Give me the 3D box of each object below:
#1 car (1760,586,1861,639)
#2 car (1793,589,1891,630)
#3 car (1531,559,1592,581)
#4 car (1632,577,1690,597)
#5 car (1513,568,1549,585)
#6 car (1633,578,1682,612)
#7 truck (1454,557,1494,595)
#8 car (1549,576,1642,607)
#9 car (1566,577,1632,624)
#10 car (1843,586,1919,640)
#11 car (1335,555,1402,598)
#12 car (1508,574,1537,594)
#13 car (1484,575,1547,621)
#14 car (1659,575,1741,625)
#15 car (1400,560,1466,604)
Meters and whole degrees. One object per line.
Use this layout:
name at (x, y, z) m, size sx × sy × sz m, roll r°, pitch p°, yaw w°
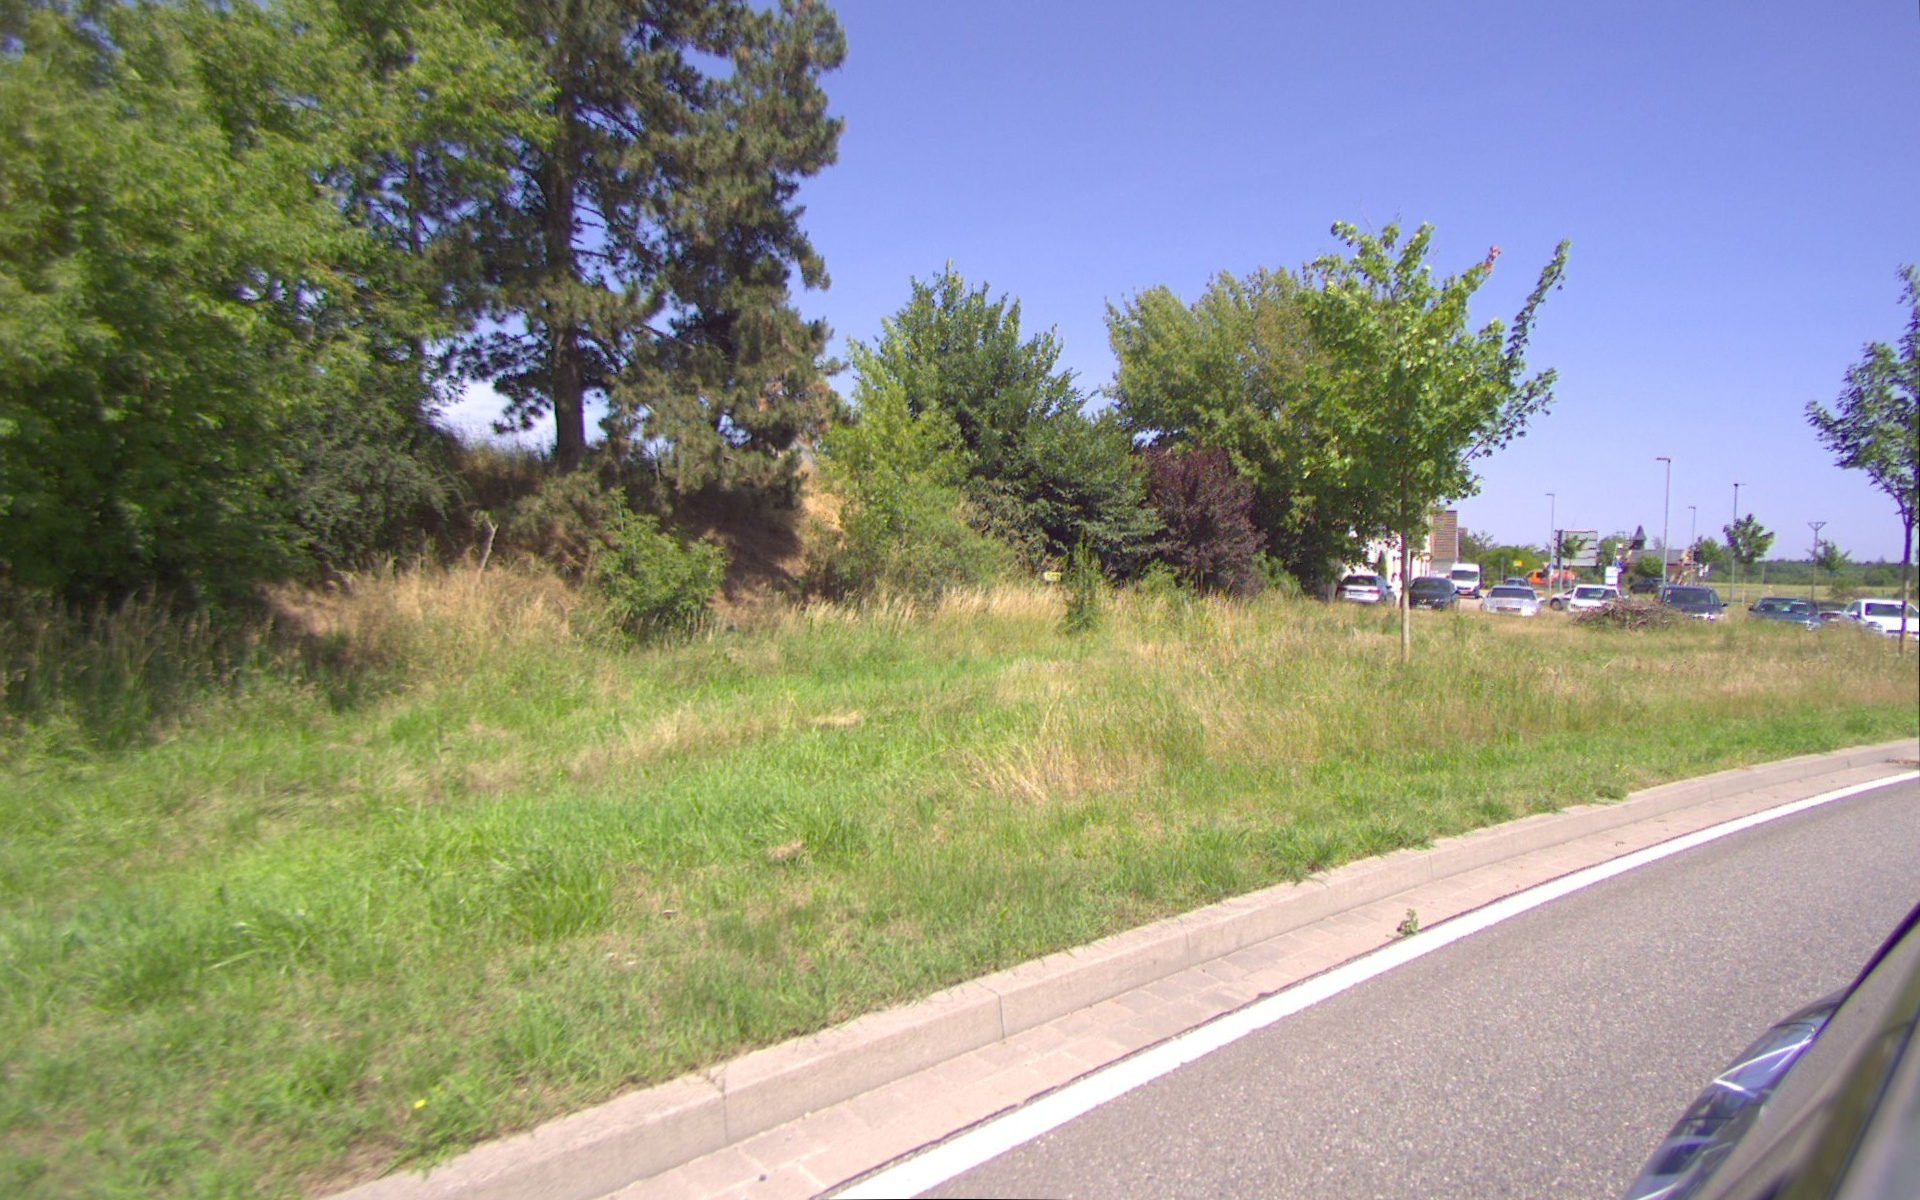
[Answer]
car at (26.203, 0.363, 31.307) m, size 1.761 × 1.460 × 3.921 m, roll 3°, pitch 1°, yaw 32°
car at (33.545, 0.303, 38.616) m, size 1.729 × 1.327 × 3.967 m, roll 3°, pitch 3°, yaw 25°
car at (75.213, -3.789, 126.662) m, size 6.120 × 2.615 × 2.319 m, roll 4°, pitch 3°, yaw 44°
car at (62.692, -1.179, 90.640) m, size 1.918 × 1.670 × 4.886 m, roll 1°, pitch 1°, yaw 3°
car at (50.524, -2.070, 89.559) m, size 3.706 × 1.367 × 1.850 m, roll -1°, pitch 3°, yaw -45°
car at (41.314, -0.325, 59.998) m, size 1.838 × 1.853 × 3.962 m, roll 3°, pitch 3°, yaw 28°
truck at (36.965, -1.735, 72.714) m, size 2.219 × 2.536 × 5.577 m, roll 3°, pitch 3°, yaw 30°
car at (33.472, -0.478, 53.425) m, size 1.616 × 1.410 × 4.010 m, roll 1°, pitch 3°, yaw -17°
car at (21.818, 0.014, 34.637) m, size 1.761 × 1.460 × 3.921 m, roll 3°, pitch 1°, yaw 32°
car at (28.351, 0.352, 30.547) m, size 1.733 × 1.445 × 3.959 m, roll 3°, pitch 3°, yaw 30°
car at (15.667, -0.874, 38.691) m, size 1.760 × 1.460 × 3.922 m, roll 3°, pitch 1°, yaw 31°
car at (44.834, -1.308, 80.710) m, size 1.838 × 1.514 × 3.962 m, roll 3°, pitch 3°, yaw 28°
car at (19.248, -0.067, 34.985) m, size 1.760 × 1.460 × 3.923 m, roll 3°, pitch 1°, yaw 30°
car at (23.889, -0.016, 32.784) m, size 1.761 × 1.460 × 3.921 m, roll 3°, pitch 1°, yaw 32°
car at (17.263, -0.619, 36.847) m, size 1.760 × 1.460 × 3.922 m, roll 3°, pitch 1°, yaw 31°
